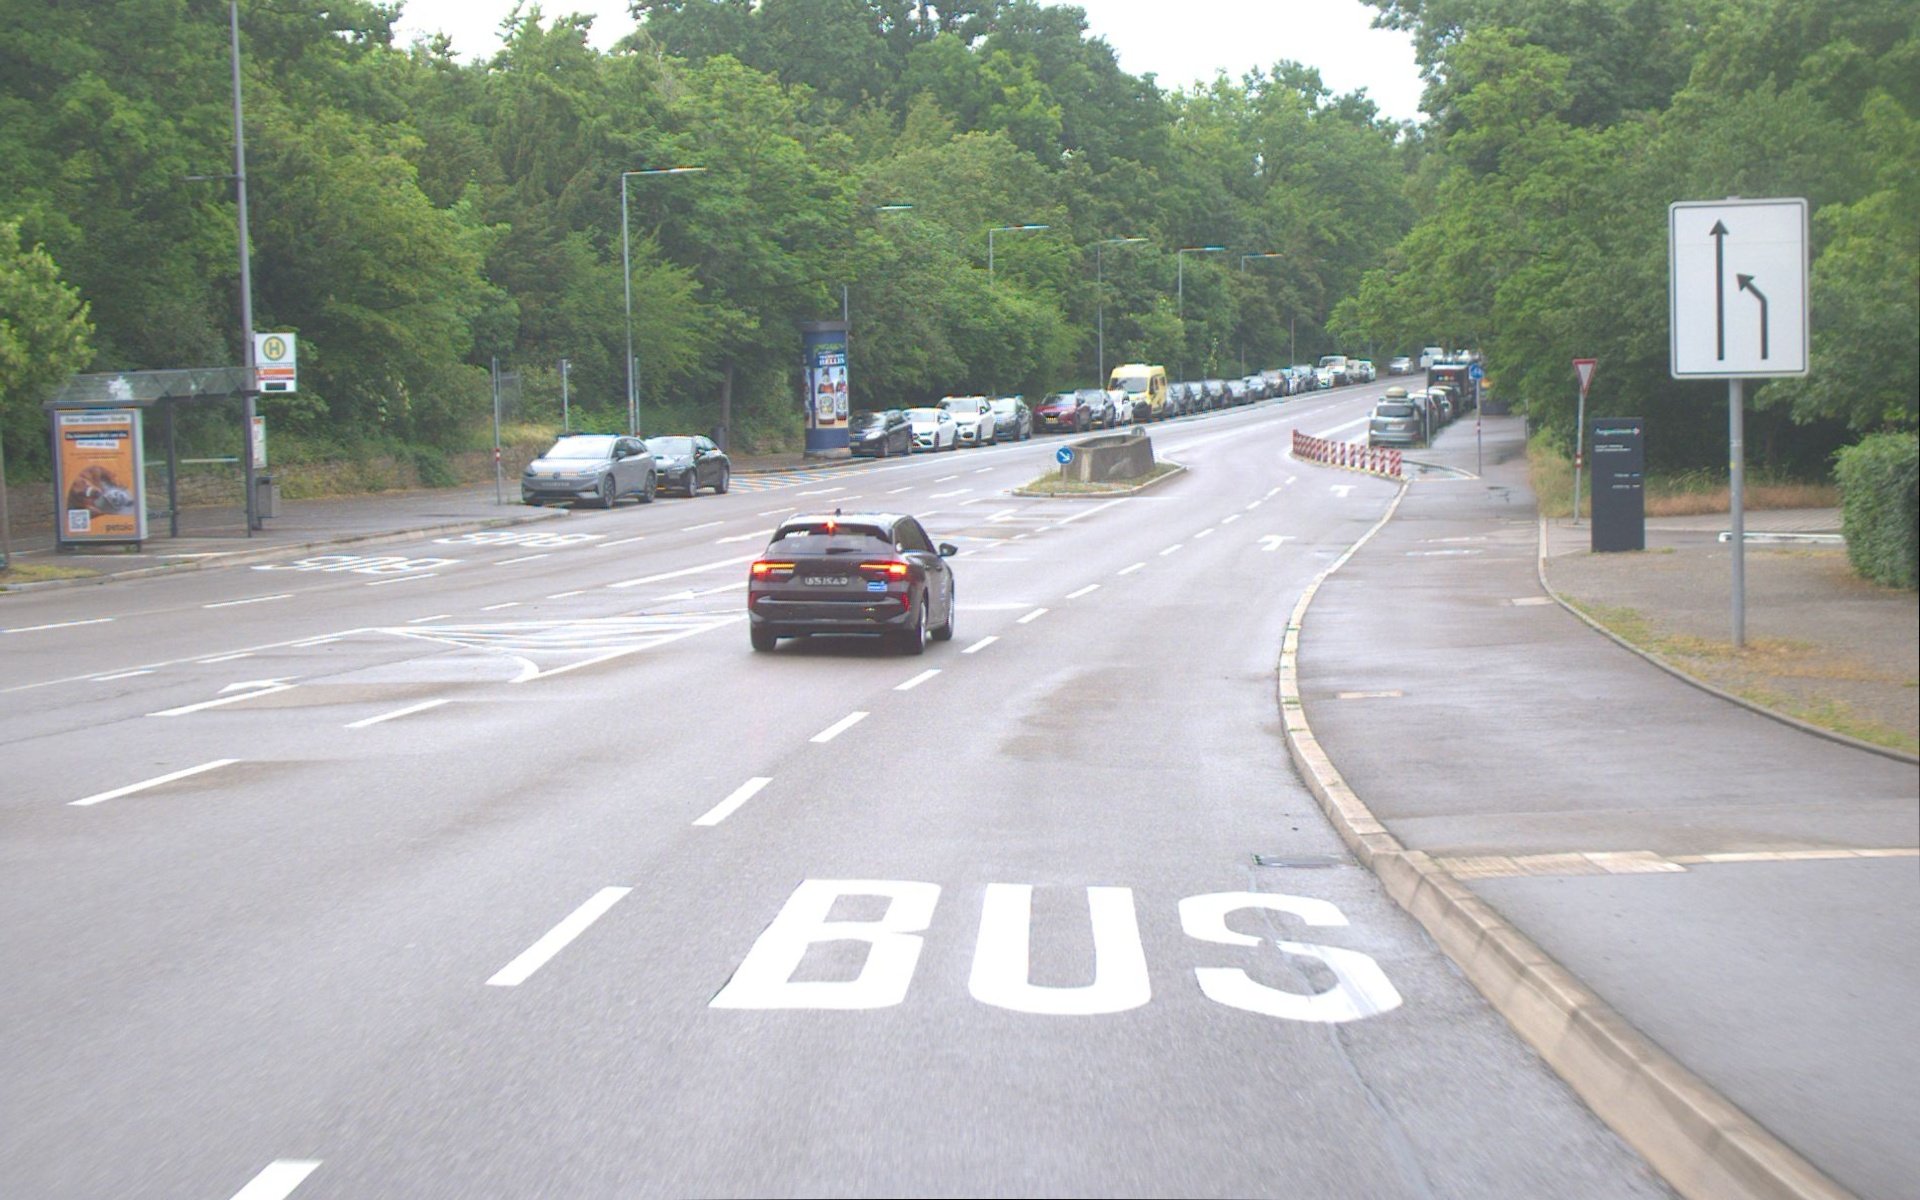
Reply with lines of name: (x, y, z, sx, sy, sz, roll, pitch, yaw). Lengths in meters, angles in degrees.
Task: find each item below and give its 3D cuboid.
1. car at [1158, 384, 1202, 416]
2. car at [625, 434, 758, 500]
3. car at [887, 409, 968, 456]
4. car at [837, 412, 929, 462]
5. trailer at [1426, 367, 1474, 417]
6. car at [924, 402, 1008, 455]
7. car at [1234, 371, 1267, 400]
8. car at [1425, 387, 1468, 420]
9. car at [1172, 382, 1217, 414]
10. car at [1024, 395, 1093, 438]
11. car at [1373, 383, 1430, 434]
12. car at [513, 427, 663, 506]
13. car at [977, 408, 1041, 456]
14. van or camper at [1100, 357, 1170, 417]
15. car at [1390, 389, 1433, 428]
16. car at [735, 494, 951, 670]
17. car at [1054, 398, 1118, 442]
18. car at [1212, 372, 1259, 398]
car: (10.734, -9.737, 167.408, 1.603, 1.504, 3.137, 1, 5, 14)
car: (-6.340, -3.189, 81.701, 1.907, 1.409, 4.781, 2, 4, 12)
car: (-1.065, -5.640, 115.426, 1.719, 1.455, 4.707, 1, 5, 13)
car: (-2.438, -5.209, 109.786, 1.750, 1.440, 4.585, 1, 5, 15)
trailer: (23.286, -9.909, 163.355, 1.907, 2.239, 4.767, 1, 5, 12)
car: (0.236, -6.072, 121.512, 1.994, 1.759, 4.959, 1, 4, 12)
car: (16.035, -11.838, 189.521, 1.461, 1.565, 2.983, 0, 5, 12)
car: (22.233, -8.950, 156.932, 1.823, 1.480, 4.199, 0, 3, 10)
car: (11.782, -10.166, 172.637, 1.603, 1.504, 3.975, 1, 5, 14)
car: (3.985, -7.438, 139.042, 1.920, 1.611, 4.488, 0, 4, 13)
car: (14.817, -6.434, 115.348, 1.822, 1.609, 4.251, 1, 4, 8)
car: (-8.116, -2.956, 75.376, 1.842, 1.583, 4.927, 2, 4, 12)
car: (1.860, -6.302, 128.614, 1.732, 1.643, 4.571, 1, 4, 9)
van or camper: (8.015, -9.759, 156.856, 2.145, 2.617, 5.680, 1, 5, 13)
car: (17.957, -7.615, 136.604, 1.560, 1.455, 3.675, 1, 5, 9)
car: (-1.158, -0.239, 35.847, 1.881, 1.460, 4.001, 2, 5, 3)
car: (5.299, -7.568, 144.455, 1.994, 1.694, 4.614, 0, 5, 11)
car: (14.557, -11.363, 181.285, 1.871, 1.299, 4.469, 1, 5, 12)
